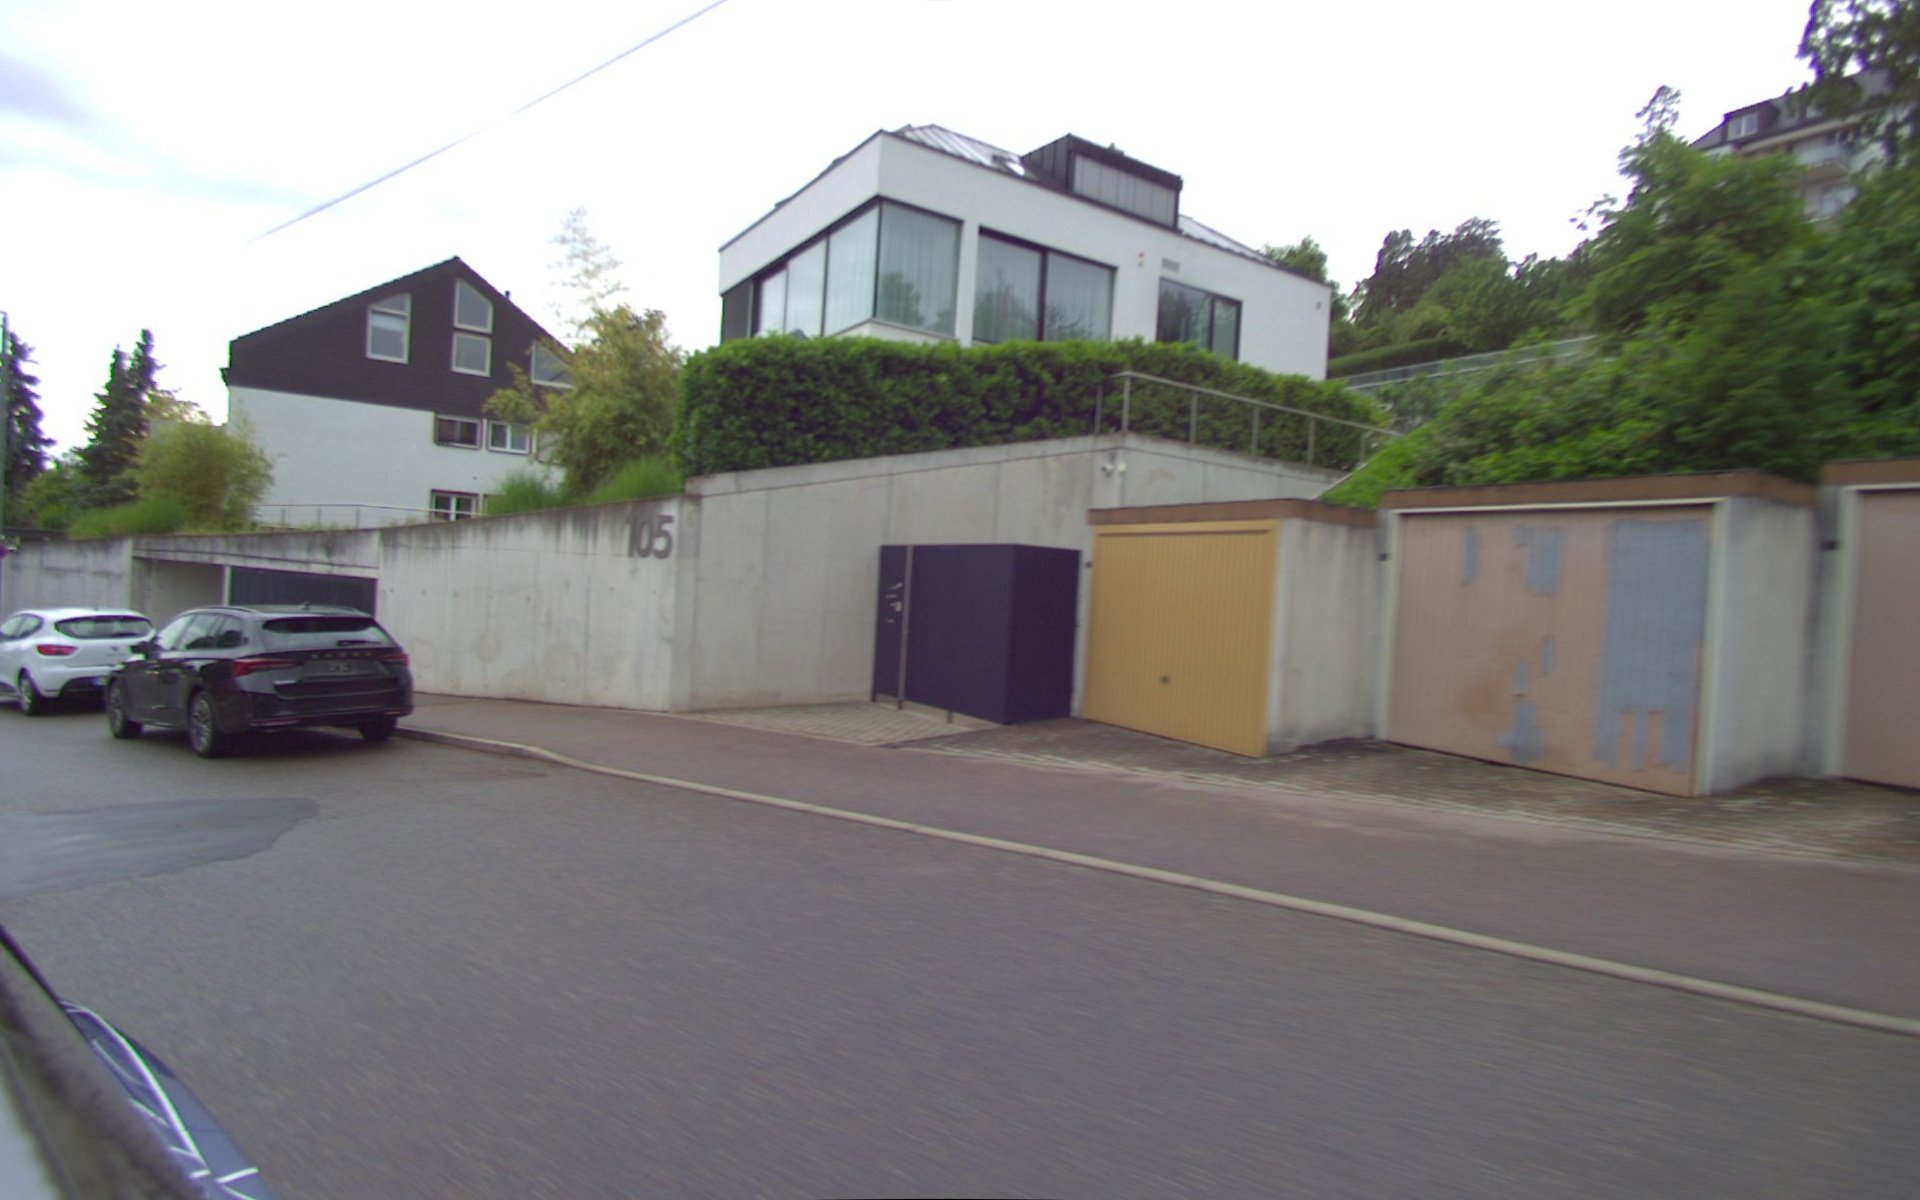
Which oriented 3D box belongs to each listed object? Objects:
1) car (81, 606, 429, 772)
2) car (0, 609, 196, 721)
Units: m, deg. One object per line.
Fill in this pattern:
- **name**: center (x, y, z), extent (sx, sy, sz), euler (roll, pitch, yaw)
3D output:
- **car**: center (-7.821, 0.810, 11.064), extent (4.673, 1.470, 1.697), euler (0, -1, 36)
- **car**: center (-13.280, 0.869, 15.043), extent (4.028, 1.451, 1.817), euler (0, -1, 33)
